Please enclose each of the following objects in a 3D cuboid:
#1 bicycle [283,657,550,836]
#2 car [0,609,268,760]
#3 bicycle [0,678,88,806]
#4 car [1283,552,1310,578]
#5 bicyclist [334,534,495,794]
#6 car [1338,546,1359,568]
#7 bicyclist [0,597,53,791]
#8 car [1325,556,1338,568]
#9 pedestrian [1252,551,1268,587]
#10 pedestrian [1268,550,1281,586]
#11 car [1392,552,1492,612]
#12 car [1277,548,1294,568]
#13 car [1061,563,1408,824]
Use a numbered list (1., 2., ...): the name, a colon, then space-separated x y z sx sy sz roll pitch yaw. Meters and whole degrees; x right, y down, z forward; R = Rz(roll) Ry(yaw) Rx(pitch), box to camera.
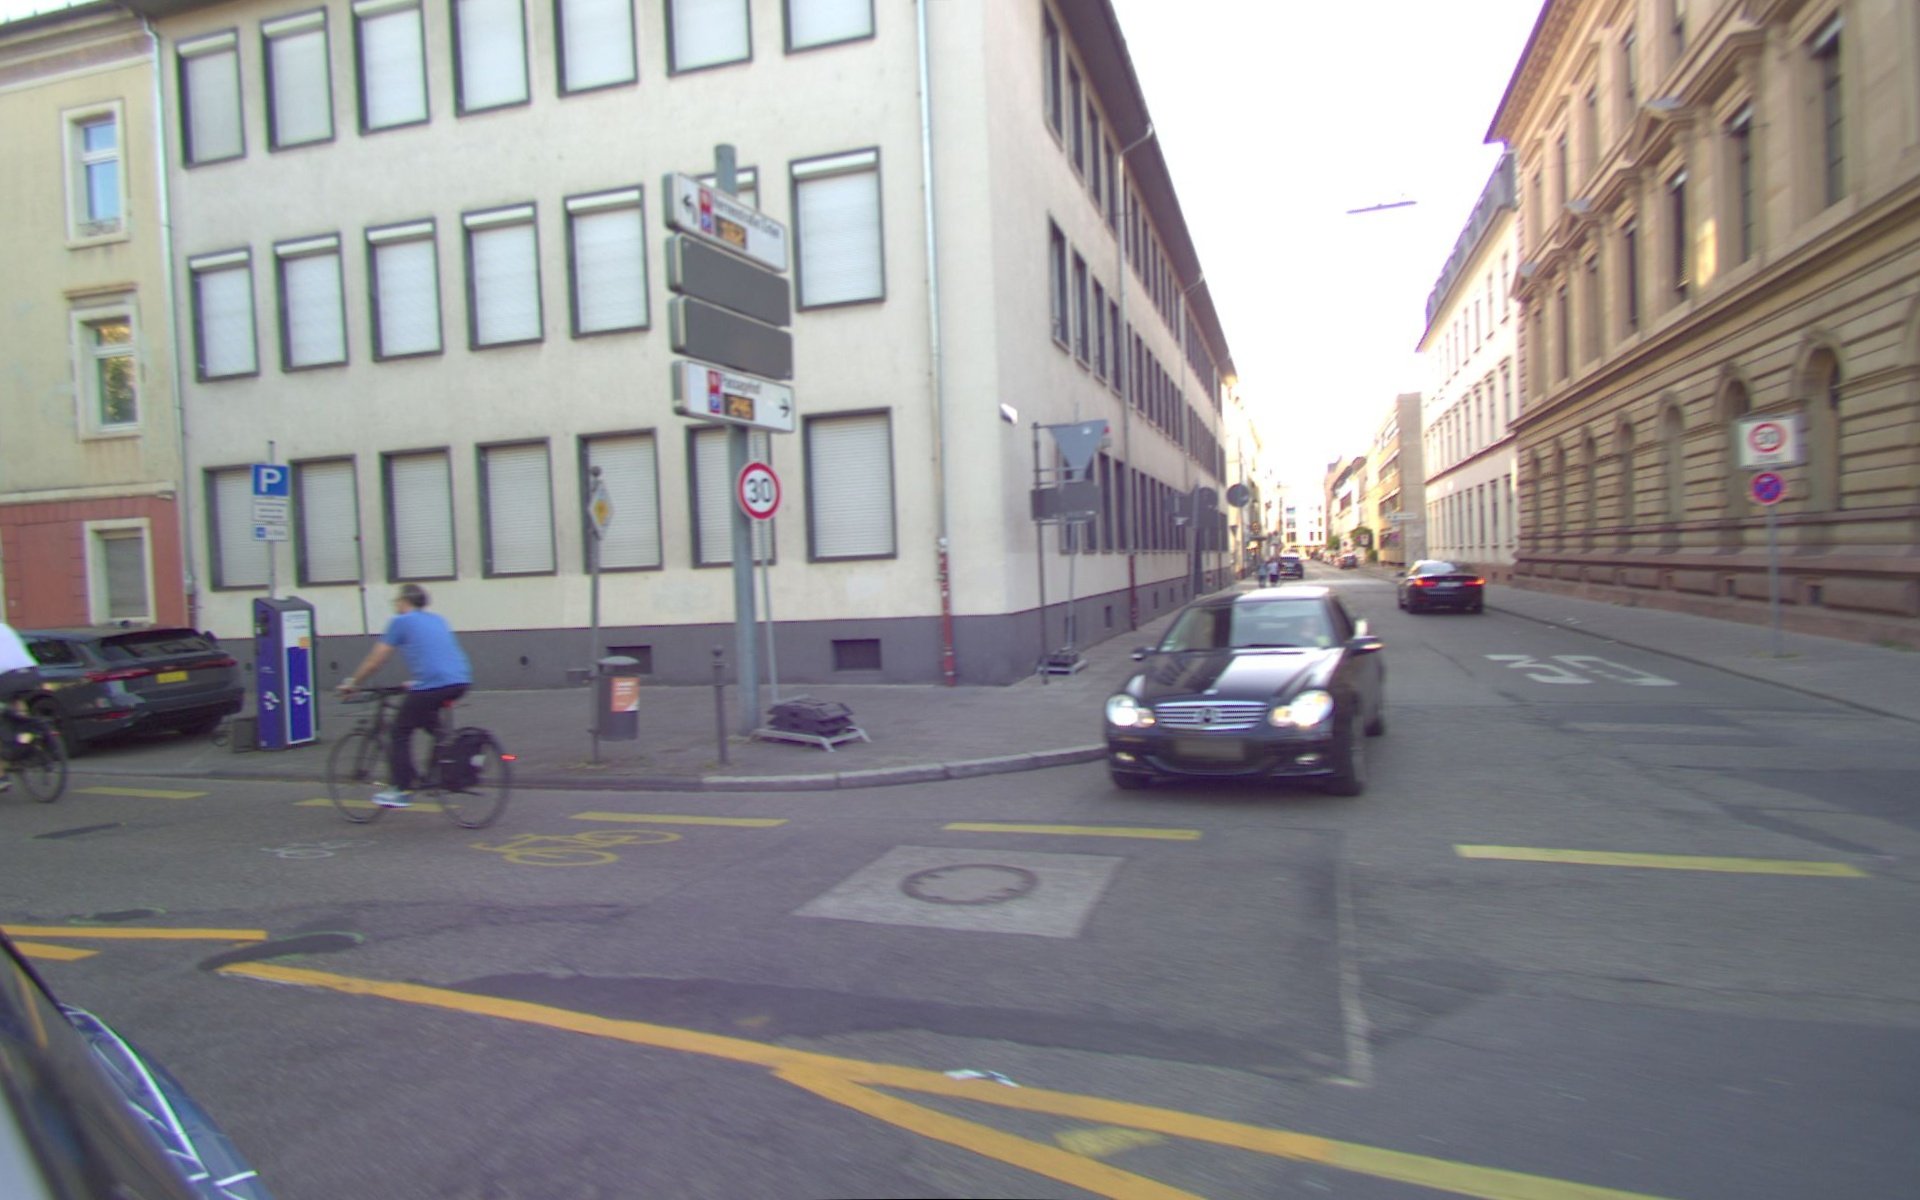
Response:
1. bicycle: -3.804 0.971 7.055 1.886 1.078 0.606 -2 0 25
2. car: -11.395 1.032 12.603 4.742 1.518 1.874 -3 3 15
3. bicycle: -8.667 1.219 9.001 2.018 0.995 0.584 -2 0 25
4. car: 24.526 -2.520 73.791 1.771 1.696 3.975 -2 -1 19
5. bicyclist: -3.777 0.425 7.018 0.831 1.688 0.578 -2 -1 24
6. car: 39.683 -4.394 103.380 1.861 2.029 3.971 -2 -1 22
7. bicyclist: -8.703 0.819 9.010 1.004 1.671 0.571 -2 -1 25
8. car: 48.921 -4.967 133.226 1.433 1.475 3.380 -2 1 19
9. pedestrian: 14.878 -1.539 50.191 0.705 1.785 0.558 -2 1 17
10. pedestrian: 15.728 -1.603 50.616 0.552 1.794 0.641 -2 1 17
11. car: 13.206 -0.529 27.989 1.985 1.452 4.296 -2 2 19
12. car: 30.662 -3.951 95.218 1.433 1.632 3.457 -2 -1 19
13. car: 2.472 0.456 8.002 1.757 1.332 4.734 -2 2 26
